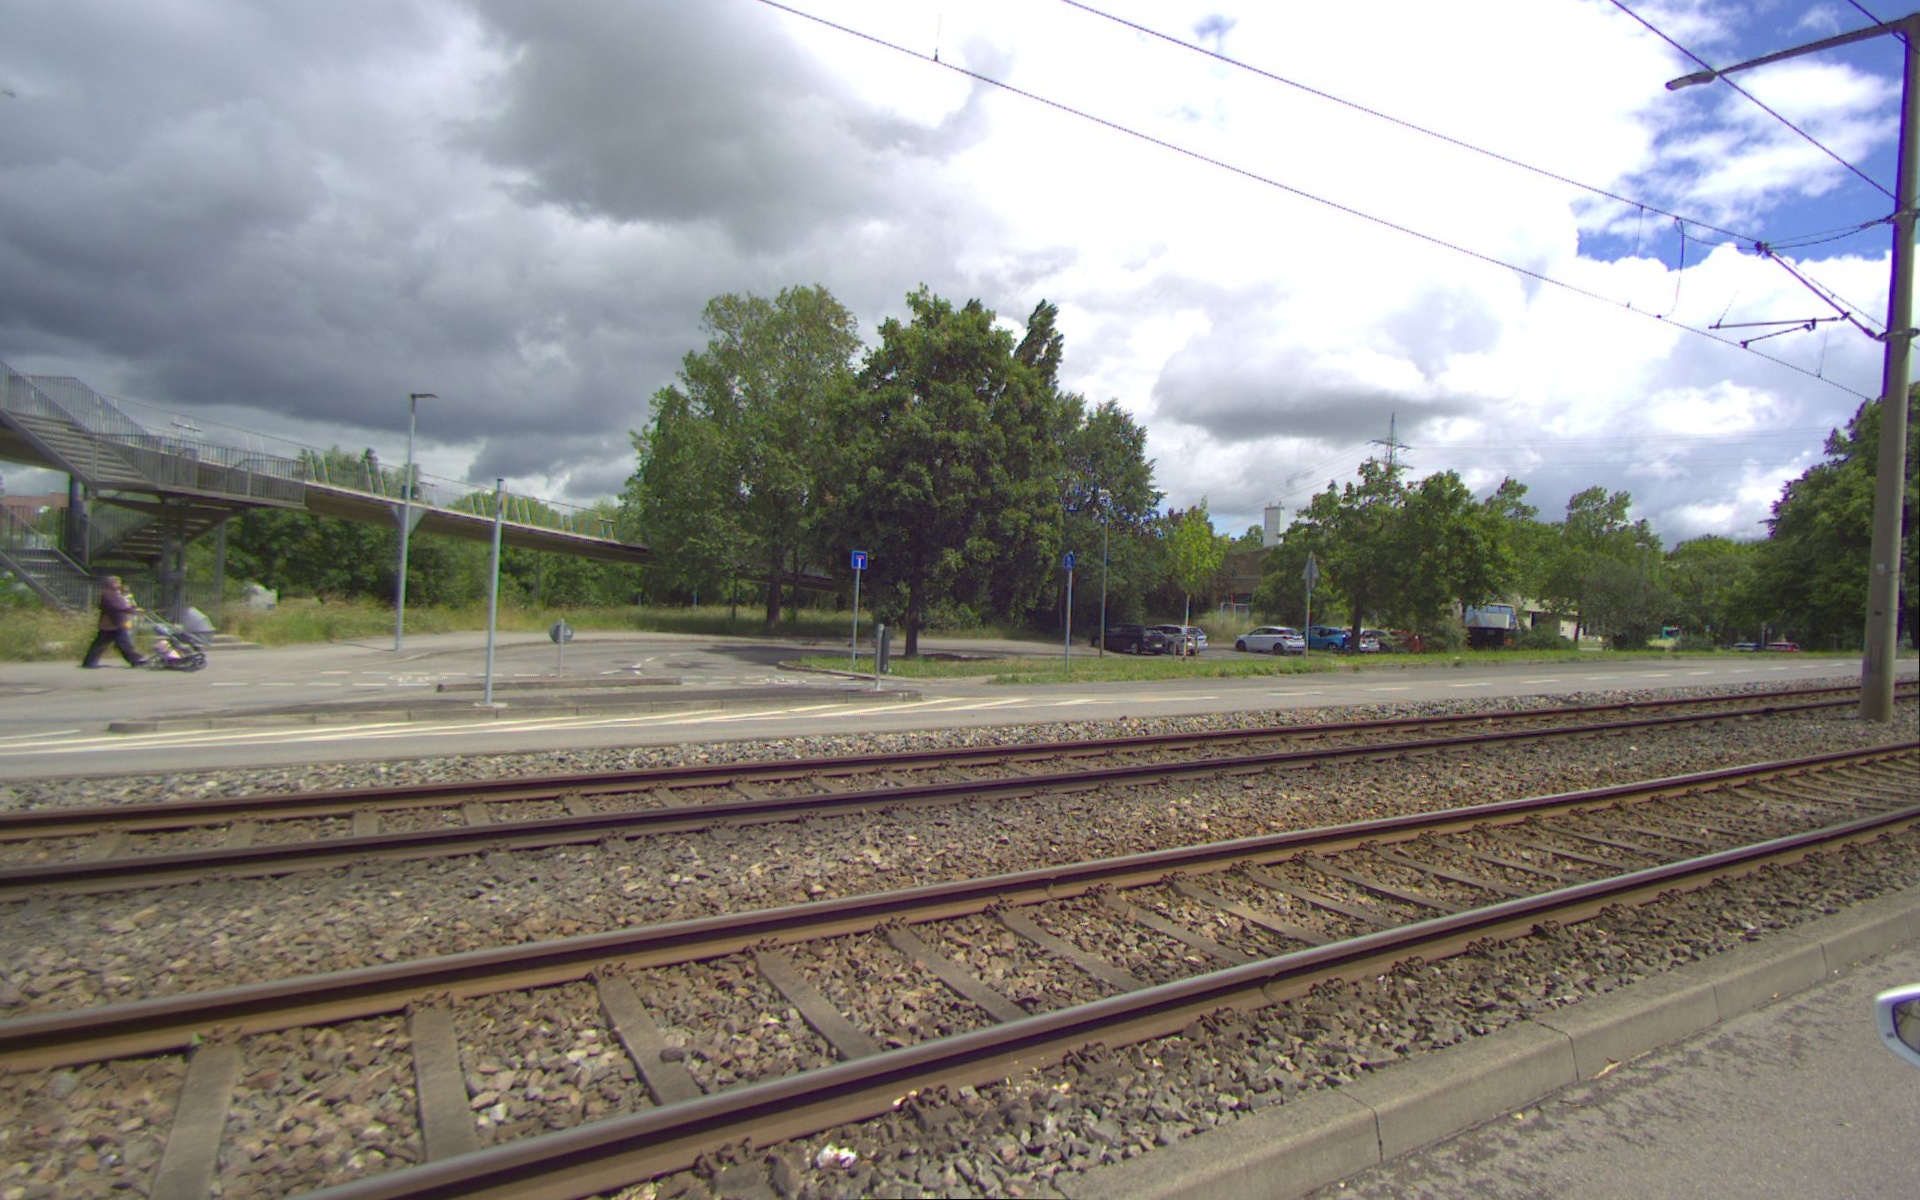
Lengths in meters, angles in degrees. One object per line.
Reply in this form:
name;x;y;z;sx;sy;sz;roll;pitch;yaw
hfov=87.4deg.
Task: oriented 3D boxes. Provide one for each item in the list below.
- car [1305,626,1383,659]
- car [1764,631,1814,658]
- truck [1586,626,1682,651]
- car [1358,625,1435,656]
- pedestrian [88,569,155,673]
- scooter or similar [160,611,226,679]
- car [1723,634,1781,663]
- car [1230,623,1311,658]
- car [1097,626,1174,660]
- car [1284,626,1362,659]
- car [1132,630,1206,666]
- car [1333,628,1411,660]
car;22.326;2.424;58.569;1.968;1.601;3.939;1;2;-27
car;58.440;3.116;70.777;3.961;1.795;1.803;1;0;-36
truck;77.775;4.406;116.047;8.979;2.731;2.604;-1;-2;39
car;26.512;2.450;61.143;1.970;1.601;3.939;1;2;-27
pedestrian;-14.967;0.369;17.949;0.709;1.779;0.658;3;1;-27
scooter or similar;-14.059;0.826;18.434;0.778;1.162;0.708;4;1;-27
car;52.507;3.167;66.590;3.956;1.795;1.806;1;0;-33
car;16.793;2.173;54.523;1.824;1.601;3.890;0;2;-35
car;8.590;2.089;49.442;1.754;1.293;3.951;4;0;-25
car;20.533;2.373;57.005;1.845;1.601;3.939;1;2;-27
car;10.465;2.391;50.524;1.553;1.409;3.857;4;0;-25
car;24.642;2.612;60.207;1.970;1.601;3.939;1;2;-27
